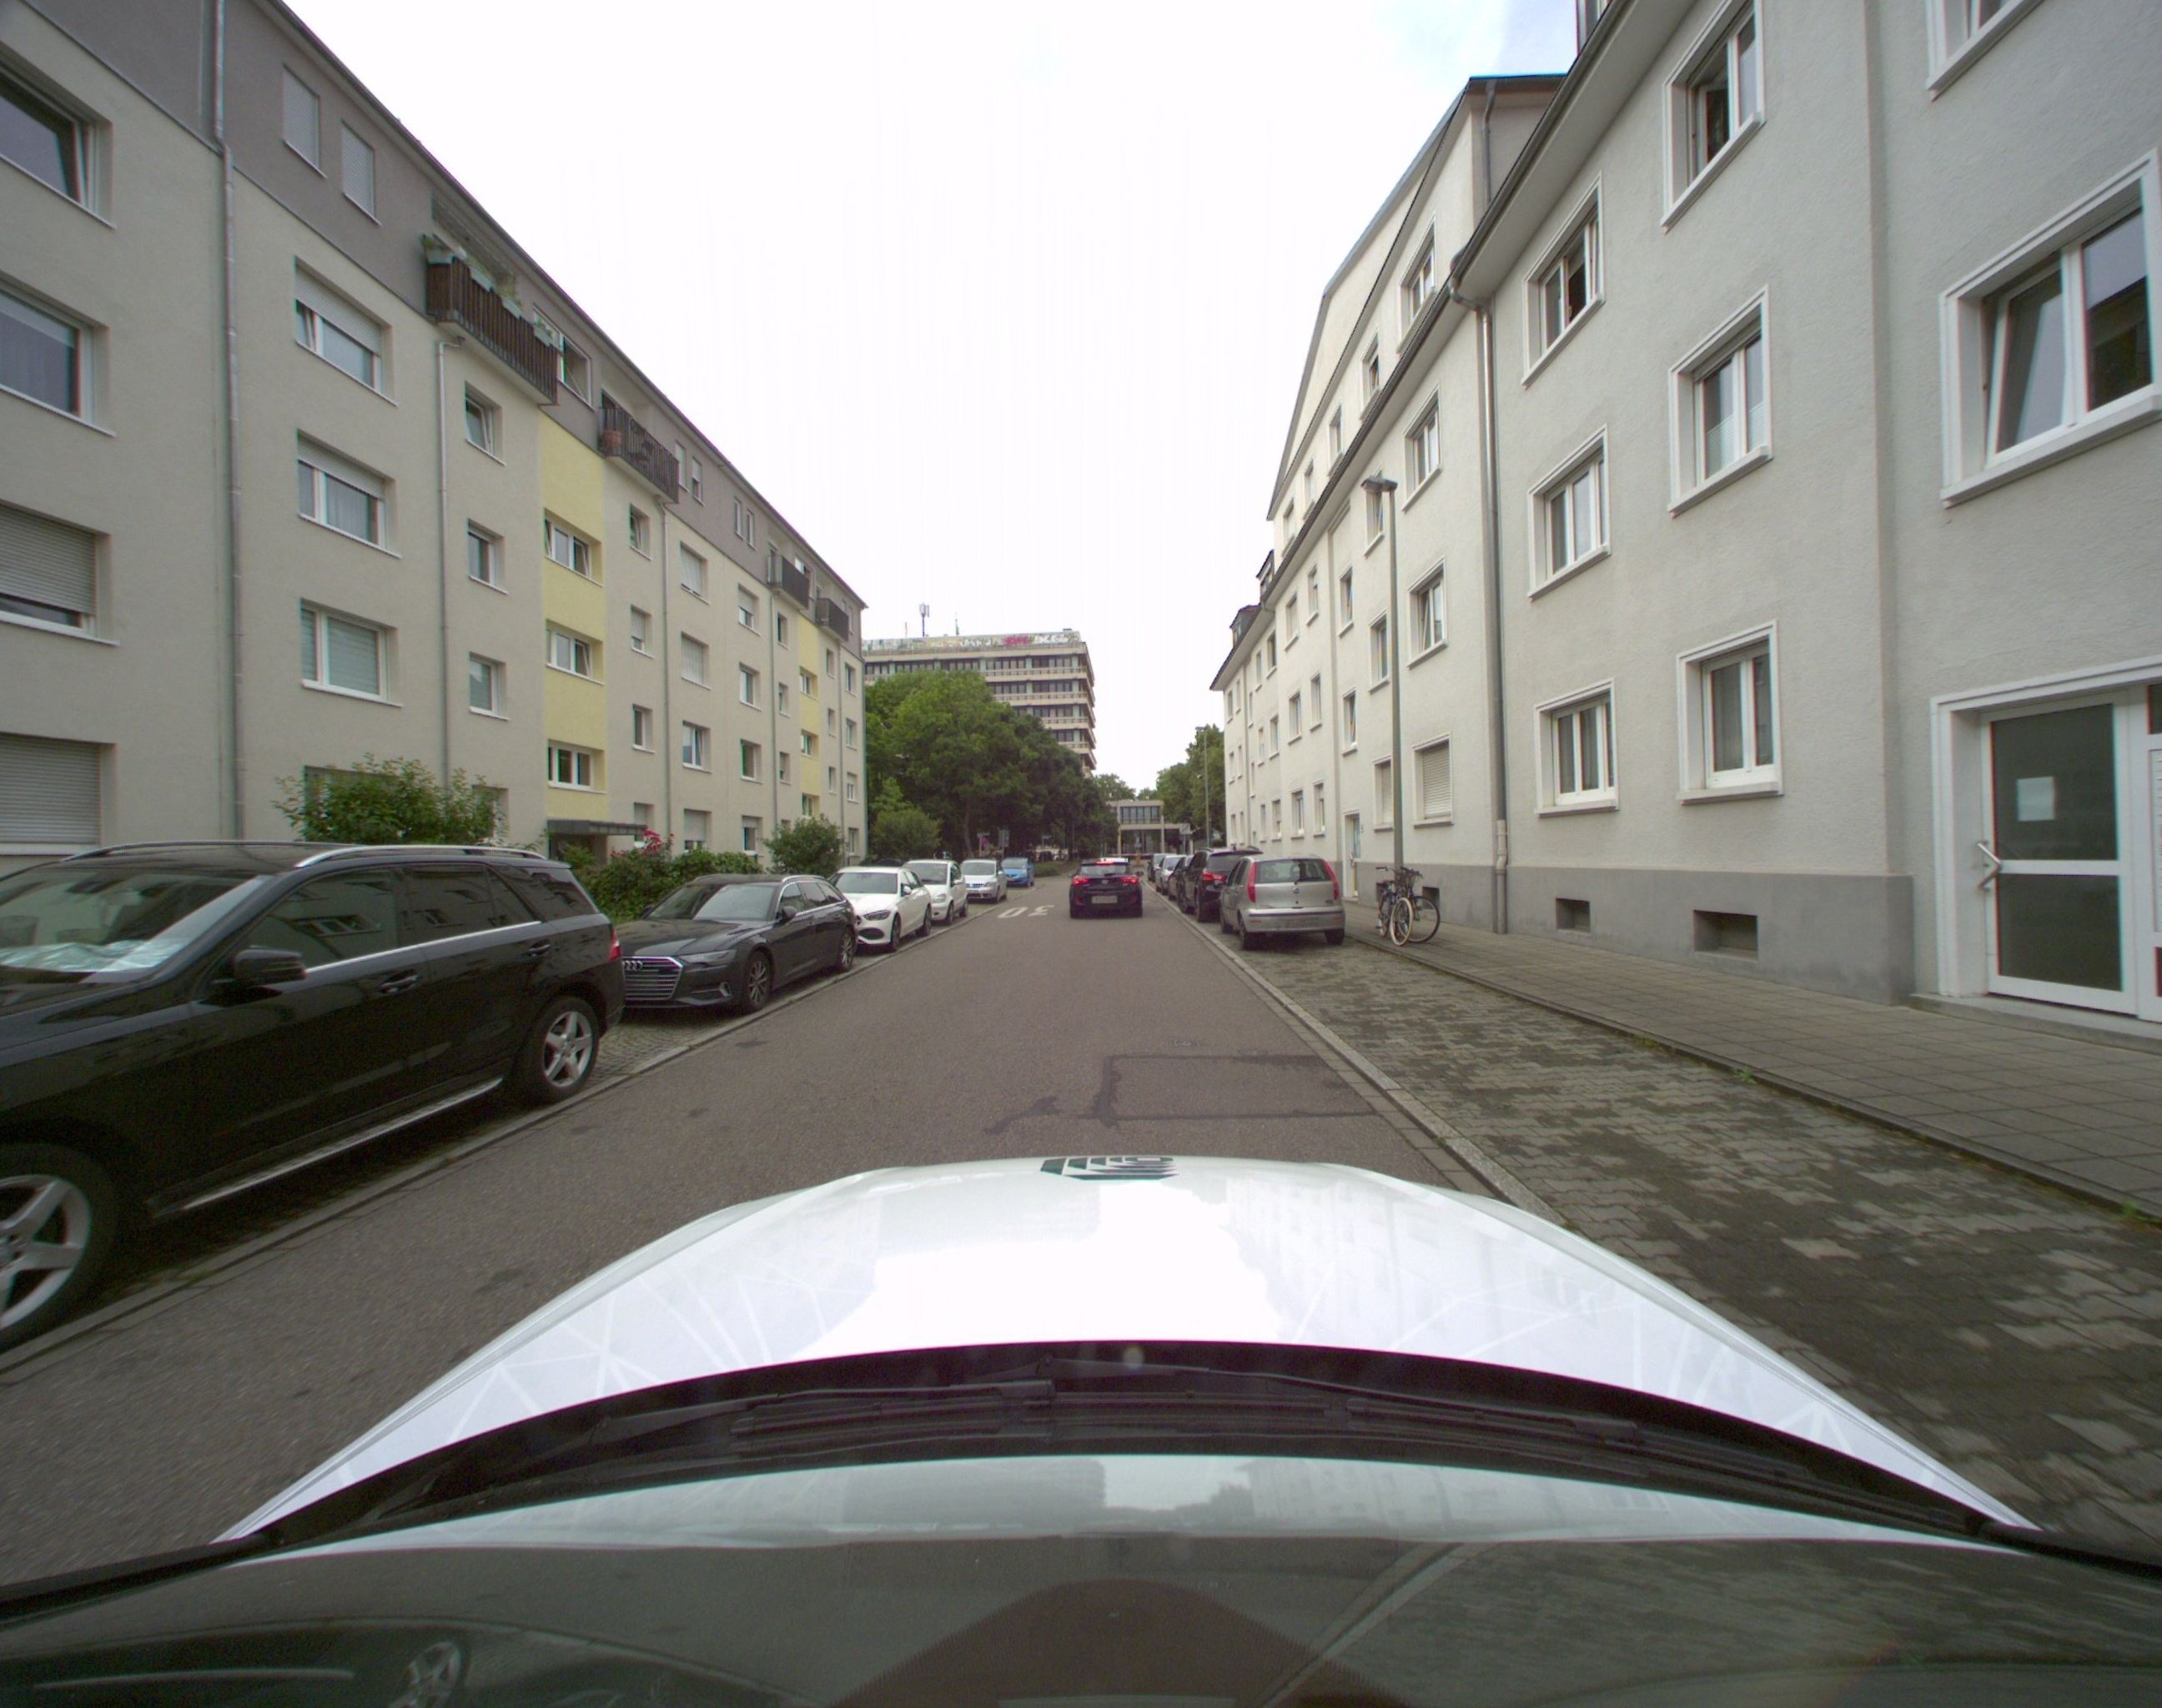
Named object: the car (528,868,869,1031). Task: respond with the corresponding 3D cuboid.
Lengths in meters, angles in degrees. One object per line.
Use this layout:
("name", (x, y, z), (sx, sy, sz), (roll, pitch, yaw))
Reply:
("car", (-4.286, 0.961, 10.162), (1.888, 1.452, 4.668), (1, 0, 2))

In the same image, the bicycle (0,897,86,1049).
("bicycle", (-9.348, 1.016, 6.103), (0.785, 1.212, 2.356), (-2, 0, 2))

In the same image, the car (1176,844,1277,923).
("car", (3.282, 0.621, 19.095), (1.813, 1.603, 4.094), (-2, 0, 3))

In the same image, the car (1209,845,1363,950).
("car", (3.431, 0.657, 14.376), (1.813, 1.503, 4.094), (-3, 0, 3))

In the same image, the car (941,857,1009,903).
("car", (-3.818, 0.892, 29.995), (1.987, 1.541, 3.999), (-1, 0, 0))

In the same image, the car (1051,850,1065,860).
("car", (-3.207, 0.143, 114.127), (1.659, 1.333, 3.397), (-1, 0, 2))

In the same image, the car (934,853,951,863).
("car", (-19.497, 0.562, 115.018), (1.659, 1.333, 3.397), (-1, 0, 2))

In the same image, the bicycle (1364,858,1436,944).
("bicycle", (4.844, 0.666, 12.497), (0.527, 1.175, 2.041), (-3, 0, 8))

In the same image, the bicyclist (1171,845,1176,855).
("bicyclist", (14.348, -0.638, 126.231), (0.691, 1.444, 0.795), (-1, 0, 2))

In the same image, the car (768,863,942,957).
("car", (-4.079, 0.935, 15.551), (1.888, 1.452, 4.523), (1, 0, 2))

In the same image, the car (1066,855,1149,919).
("car", (0.726, 0.772, 21.214), (1.895, 1.433, 4.236), (-2, 0, 3))

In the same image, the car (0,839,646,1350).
("car", (-4.555, 0.806, 4.362), (1.888, 1.740, 4.477), (1, 0, 2))

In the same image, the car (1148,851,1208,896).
("car", (3.621, 0.679, 31.012), (1.813, 1.519, 4.675), (-2, 0, 2))

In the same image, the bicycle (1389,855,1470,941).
("bicycle", (5.273, 0.625, 12.451), (0.573, 1.175, 2.041), (-3, 0, 8))

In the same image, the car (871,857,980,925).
("car", (-4.004, 0.896, 21.791), (1.888, 1.599, 4.523), (1, 0, 2))

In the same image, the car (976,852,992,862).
("car", (-13.609, 0.446, 114.523), (1.659, 1.333, 3.397), (-1, 0, 2))

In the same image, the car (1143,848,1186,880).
("car", (4.298, 0.498, 42.457), (1.813, 1.519, 4.675), (-3, 0, 2))

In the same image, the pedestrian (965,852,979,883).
("pedestrian", (-6.072, 0.754, 45.319), (0.598, 1.713, 0.649), (-1, 0, 4))

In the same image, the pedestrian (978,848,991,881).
("pedestrian", (-5.445, 0.585, 45.960), (0.602, 1.831, 0.676), (-1, 0, 4))

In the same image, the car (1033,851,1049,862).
("car", (-4.926, 0.259, 100.724), (1.659, 1.333, 3.397), (-1, 0, 2))

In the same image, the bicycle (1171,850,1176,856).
("bicycle", (14.349, -0.180, 126.194), (0.690, 0.997, 1.736), (-1, 0, 3))

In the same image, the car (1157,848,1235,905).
("car", (3.407, 0.619, 24.953), (1.814, 1.519, 4.675), (-2, 0, 1))

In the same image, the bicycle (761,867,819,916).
("bicycle", (-7.889, 0.993, 22.177), (0.728, 1.211, 2.091), (-1, 0, 2))

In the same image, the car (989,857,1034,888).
("car", (-3.548, 0.922, 42.423), (1.987, 1.541, 3.999), (-1, 0, 0))

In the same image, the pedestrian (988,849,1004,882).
("pedestrian", (-4.765, 0.625, 45.686), (0.711, 1.831, 0.798), (-1, 0, 4))
